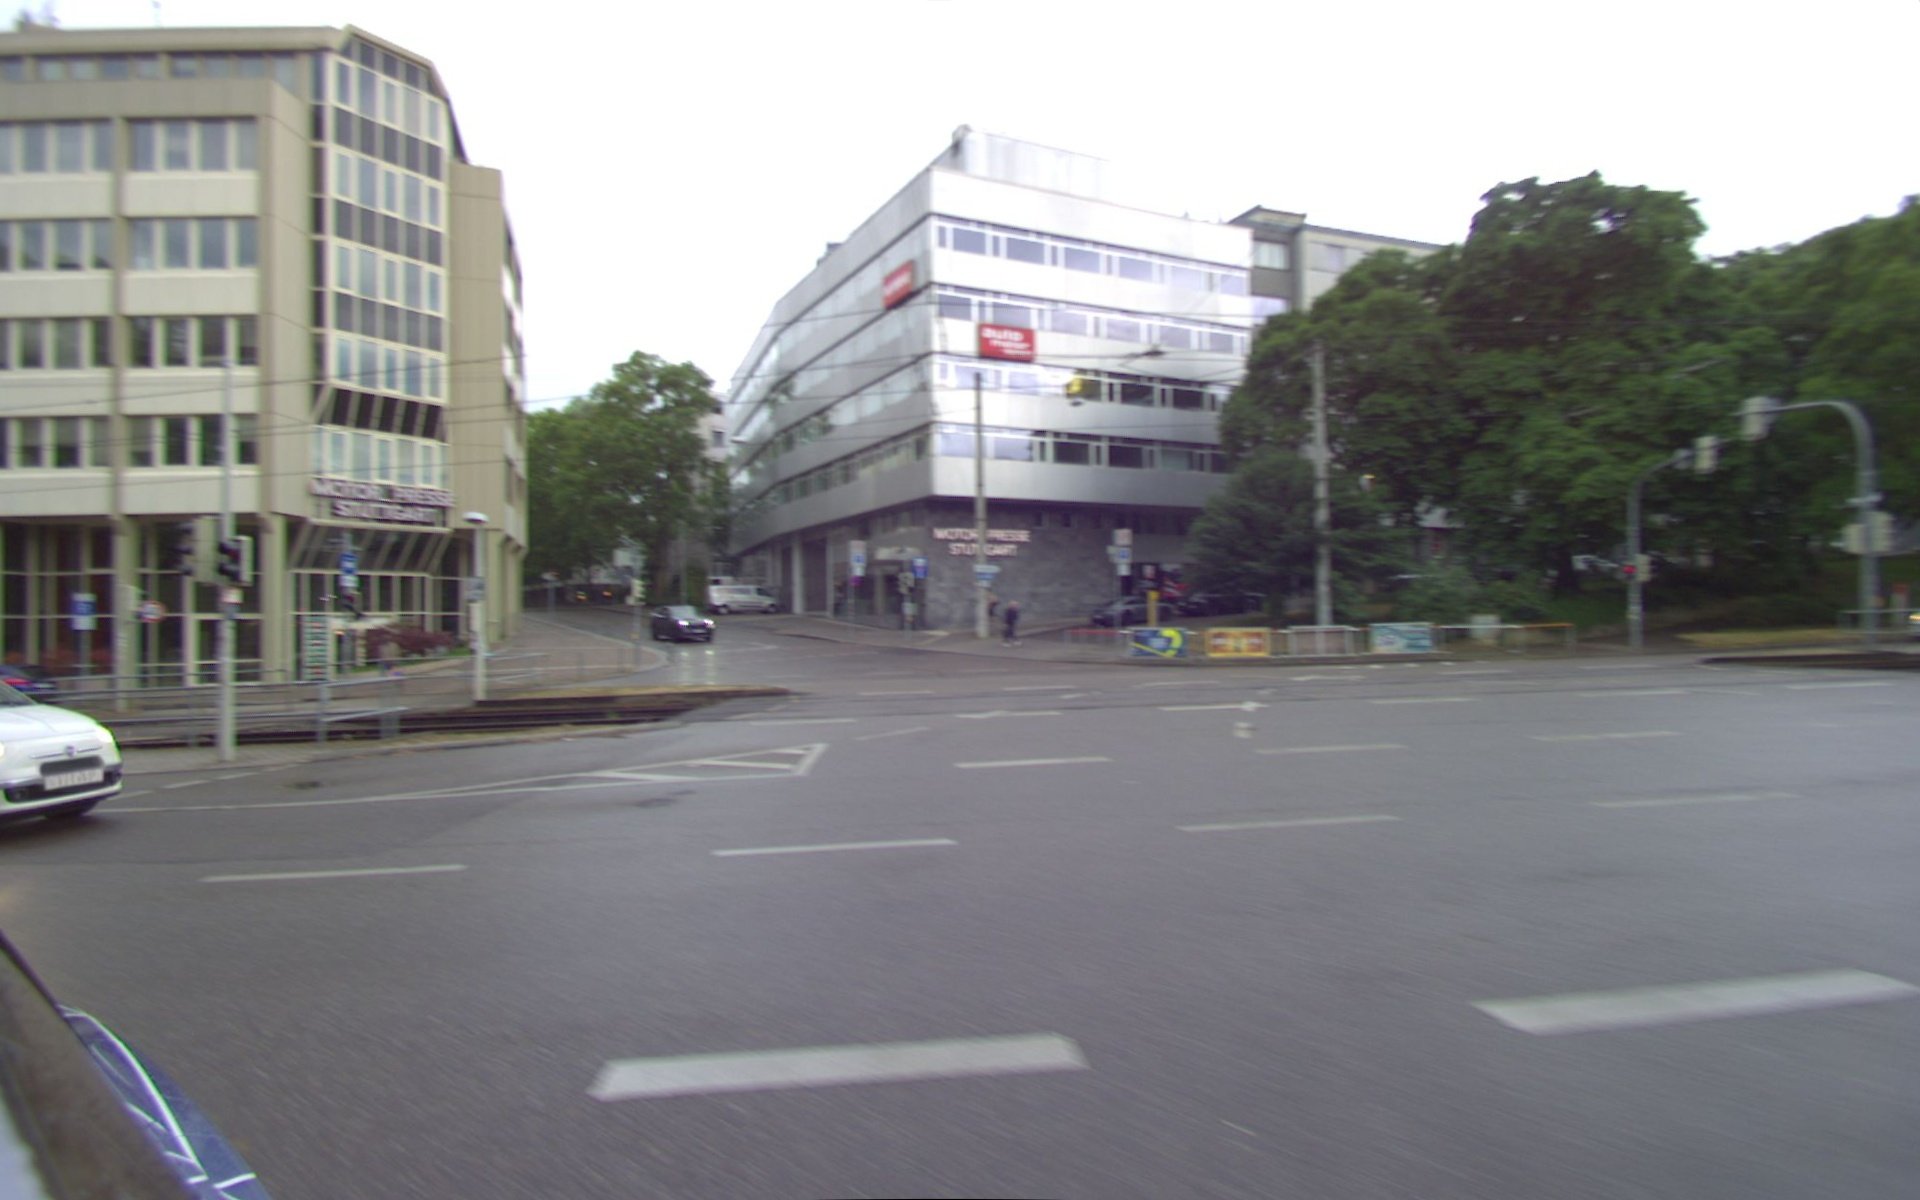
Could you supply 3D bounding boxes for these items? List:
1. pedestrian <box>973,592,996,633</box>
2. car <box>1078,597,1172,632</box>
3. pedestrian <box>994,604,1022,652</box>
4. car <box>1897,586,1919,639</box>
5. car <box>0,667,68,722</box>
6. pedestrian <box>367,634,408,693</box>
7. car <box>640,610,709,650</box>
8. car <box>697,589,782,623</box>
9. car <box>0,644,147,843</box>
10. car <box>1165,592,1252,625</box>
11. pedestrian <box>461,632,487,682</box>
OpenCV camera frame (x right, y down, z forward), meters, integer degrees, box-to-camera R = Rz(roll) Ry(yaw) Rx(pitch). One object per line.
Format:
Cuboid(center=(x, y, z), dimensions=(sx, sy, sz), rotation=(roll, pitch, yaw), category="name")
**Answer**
Cuboid(center=(1.181, 0.607, 48.390), dimensions=(0.747, 1.874, 0.722), rotation=(-4, 0, -24), category="pedestrian")
Cuboid(center=(7.753, 0.692, 47.624), dimensions=(4.023, 1.441, 1.884), rotation=(-2, -1, -30), category="car")
Cuboid(center=(1.915, 1.120, 40.328), dimensions=(0.707, 1.875, 0.851), rotation=(-1, -1, -27), category="pedestrian")
Cuboid(center=(30.062, 0.296, 29.468), dimensions=(3.630, 1.557, 1.925), rotation=(-2, -2, 1), category="car")
Cuboid(center=(-28.279, 2.760, 28.877), dimensions=(4.159, 1.488, 1.800), rotation=(-2, -3, 2), category="car")
Cuboid(center=(-18.139, 2.013, 32.070), dimensions=(0.826, 1.800, 0.754), rotation=(-2, -1, 23), category="pedestrian")
Cuboid(center=(-13.468, 1.348, 47.592), dimensions=(1.966, 1.592, 4.902), rotation=(-2, 2, -30), category="car")
Cuboid(center=(-14.922, 0.412, 68.548), dimensions=(5.319, 2.029, 2.006), rotation=(-1, -4, -22), category="car")
Cuboid(center=(-8.673, 1.143, 7.888), dimensions=(3.393, 1.446, 1.654), rotation=(-2, -3, 1), category="car")
Cuboid(center=(12.358, 0.430, 50.249), dimensions=(3.932, 1.441, 1.884), rotation=(-2, -1, -30), category="car")
Cuboid(center=(-16.430, 1.909, 34.210), dimensions=(0.707, 1.651, 0.762), rotation=(-1, -1, -27), category="pedestrian")
